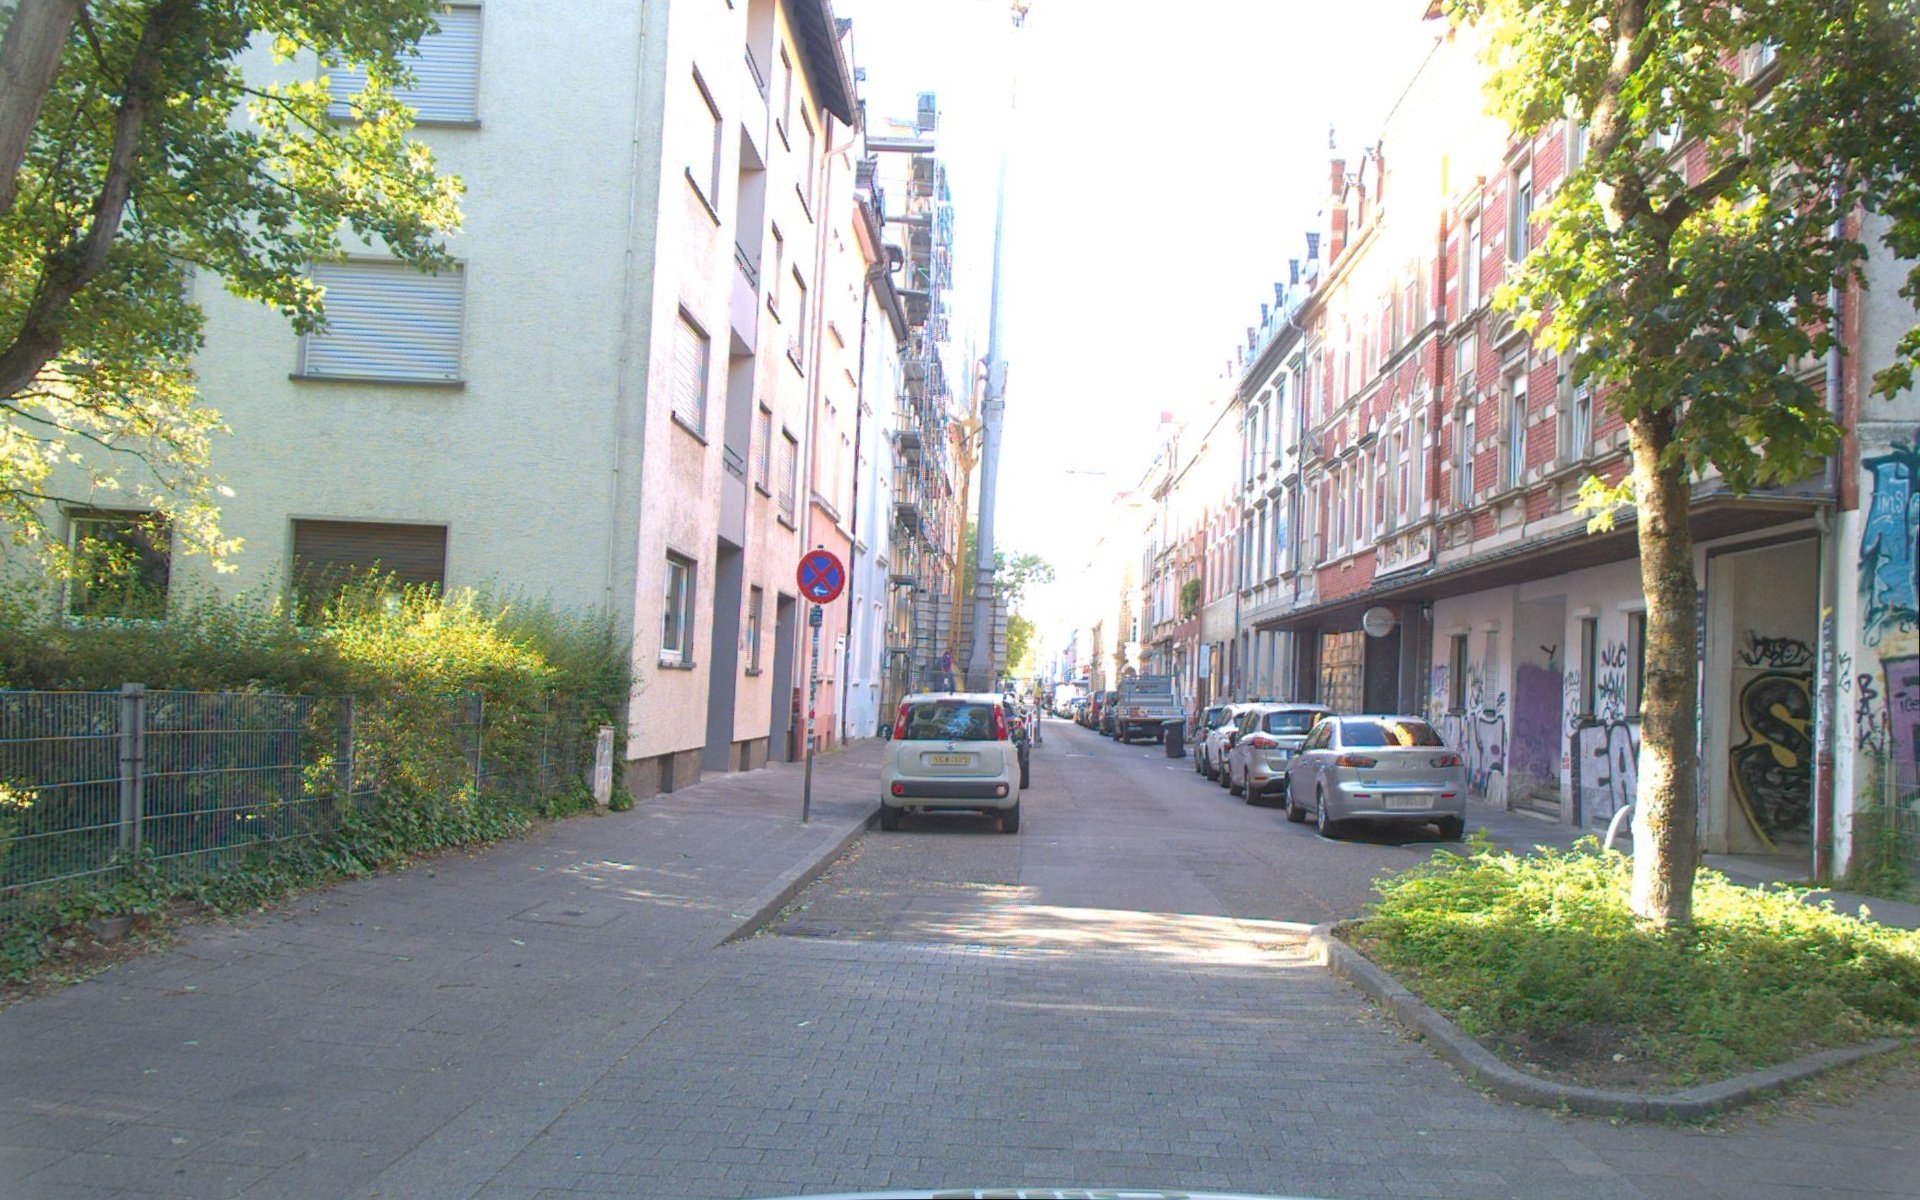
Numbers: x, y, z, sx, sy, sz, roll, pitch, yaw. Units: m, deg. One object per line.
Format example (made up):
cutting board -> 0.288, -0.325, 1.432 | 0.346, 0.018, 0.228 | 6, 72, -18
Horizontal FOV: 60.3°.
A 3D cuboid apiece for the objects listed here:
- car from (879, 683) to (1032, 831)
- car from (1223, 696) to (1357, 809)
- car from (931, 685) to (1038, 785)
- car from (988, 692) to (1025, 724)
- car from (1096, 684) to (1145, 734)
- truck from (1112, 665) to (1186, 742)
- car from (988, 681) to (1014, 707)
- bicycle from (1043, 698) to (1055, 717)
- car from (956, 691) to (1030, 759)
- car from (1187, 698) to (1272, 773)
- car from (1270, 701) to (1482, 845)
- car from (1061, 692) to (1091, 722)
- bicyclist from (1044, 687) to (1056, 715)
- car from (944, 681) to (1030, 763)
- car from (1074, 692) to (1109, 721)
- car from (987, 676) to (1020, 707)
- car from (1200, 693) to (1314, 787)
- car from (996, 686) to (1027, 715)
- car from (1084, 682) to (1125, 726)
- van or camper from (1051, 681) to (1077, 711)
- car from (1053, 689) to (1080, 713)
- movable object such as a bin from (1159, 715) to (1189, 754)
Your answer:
car -> -0.056, 1.838, 20.113 | 1.640, 1.567, 3.868 | 2, -3, 0
car -> 5.479, 2.506, 27.854 | 1.606, 1.685, 3.869 | 3, -3, 3
car -> 0.392, 2.309, 28.919 | 1.694, 1.567, 4.376 | 1, -3, 0
car -> 2.296, 5.322, 81.777 | 1.641, 1.471, 3.868 | 2, -3, 0
car -> 6.869, 4.681, 71.182 | 1.641, 1.997, 4.107 | 2, -3, 0
truck -> 6.881, 3.773, 60.710 | 2.145, 2.653, 5.233 | 2, -3, 1
car -> 3.116, 7.166, 126.258 | 1.952, 1.881, 3.999 | 2, -3, 1
bicycle -> 6.056, 7.327, 112.675 | 0.709, 1.207, 2.042 | 3, -2, 2
car -> 0.834, 3.038, 40.552 | 1.640, 1.503, 4.607 | 2, -3, 2
car -> 6.252, 3.126, 38.693 | 1.563, 1.588, 3.814 | 2, -3, 4
car -> 5.306, 2.165, 21.657 | 1.686, 1.590, 4.397 | 3, -3, 1
car -> 8.493, 7.824, 121.468 | 1.952, 2.049, 3.999 | 2, -3, 1
bicyclist -> 6.101, 6.875, 112.689 | 0.715, 1.792, 0.835 | 3, -3, 2
car -> 0.596, 2.527, 34.849 | 1.640, 1.538, 4.414 | 2, -3, 2
car -> 7.703, 6.246, 97.103 | 1.641, 1.599, 3.868 | 2, -3, 0
car -> 2.401, 5.086, 91.985 | 1.641, 1.599, 3.868 | 2, -3, 0
car -> 5.946, 2.782, 33.521 | 1.710, 1.705, 4.341 | 2, -3, 3
car -> 3.010, 5.915, 97.121 | 1.641, 1.599, 3.868 | 2, -3, 0
car -> 7.298, 5.246, 83.659 | 1.641, 2.067, 3.868 | 2, -3, 0
van or camper -> 9.411, 8.693, 150.079 | 1.953, 2.553, 4.199 | 2, -3, -2
car -> 8.680, 8.255, 135.411 | 1.952, 1.881, 3.999 | 2, -3, 1
movable object such as a bin -> 6.256, 3.931, 48.433 | 0.778, 1.075, 0.660 | 2, -3, 2
